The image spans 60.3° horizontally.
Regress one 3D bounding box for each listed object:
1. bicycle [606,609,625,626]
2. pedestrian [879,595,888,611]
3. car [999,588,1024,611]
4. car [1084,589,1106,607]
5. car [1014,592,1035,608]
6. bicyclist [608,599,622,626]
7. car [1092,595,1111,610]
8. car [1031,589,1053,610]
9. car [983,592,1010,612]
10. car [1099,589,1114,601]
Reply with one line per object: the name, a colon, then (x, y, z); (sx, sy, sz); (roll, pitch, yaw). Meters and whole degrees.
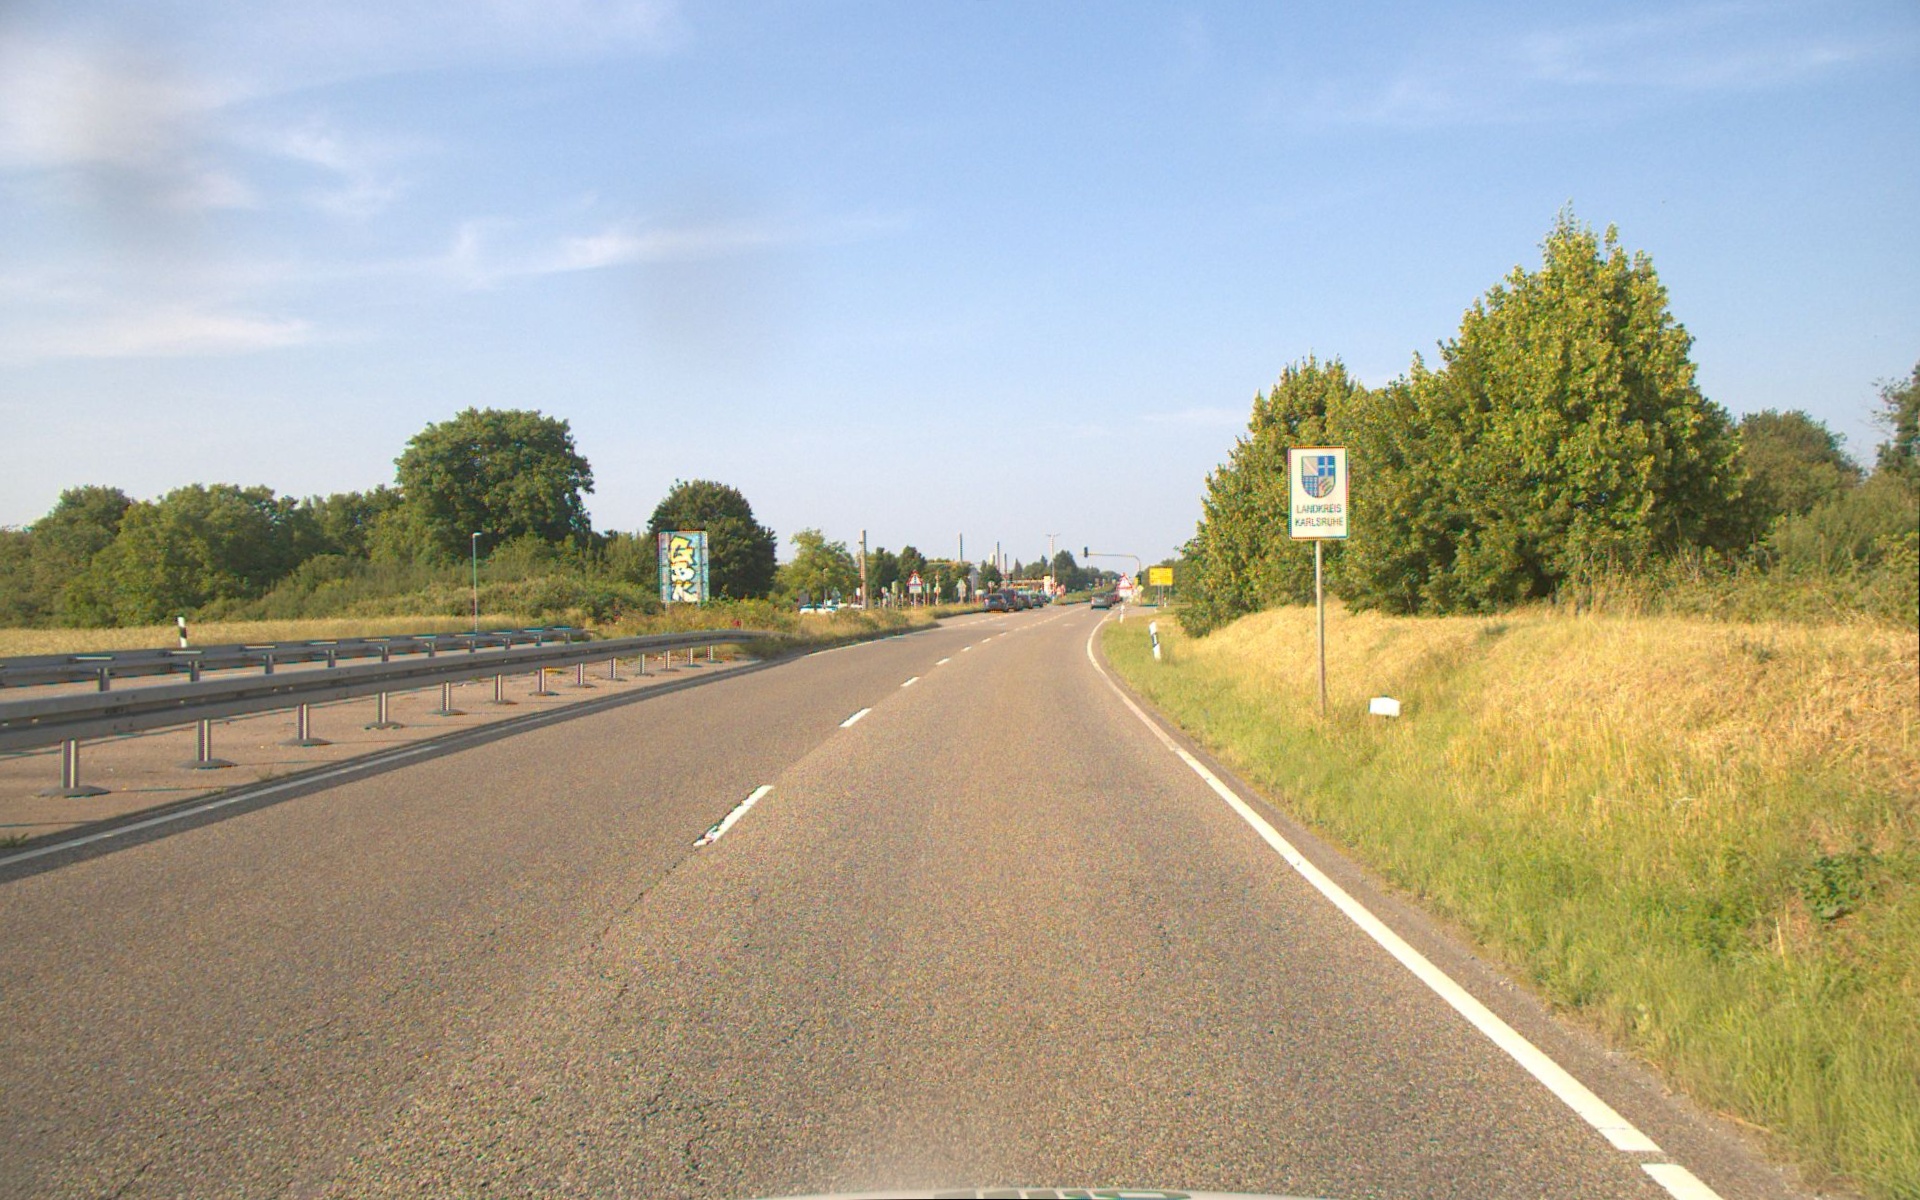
bicycle: (-18.529, 0.947, 88.926); (0.518, 0.893, 1.706); (-1, 0, 6)
pedestrian: (-8.235, 0.345, 178.864); (0.896, 1.736, 1.067); (1, -1, 1)
car: (4.366, -0.094, 139.534); (1.695, 1.888, 4.523); (-1, 0, 7)
car: (12.635, -0.199, 154.554); (1.951, 1.579, 4.003); (-1, 0, 7)
car: (6.131, -0.031, 156.839); (1.732, 1.497, 4.018); (-1, 0, 7)
bicyclist: (-18.553, 0.679, 88.940); (0.457, 1.414, 1.048); (-1, 0, 6)
car: (15.309, 0.296, 178.605); (1.951, 1.579, 4.003); (-1, 0, 7)
car: (8.638, -0.026, 174.533); (1.951, 2.049, 4.839); (-1, -2, 7)
car: (2.944, 0.154, 132.509); (1.695, 1.481, 4.523); (-1, 0, 7)
car: (20.250, -0.655, 228.039); (1.951, 1.624, 4.003); (-1, 0, 6)
